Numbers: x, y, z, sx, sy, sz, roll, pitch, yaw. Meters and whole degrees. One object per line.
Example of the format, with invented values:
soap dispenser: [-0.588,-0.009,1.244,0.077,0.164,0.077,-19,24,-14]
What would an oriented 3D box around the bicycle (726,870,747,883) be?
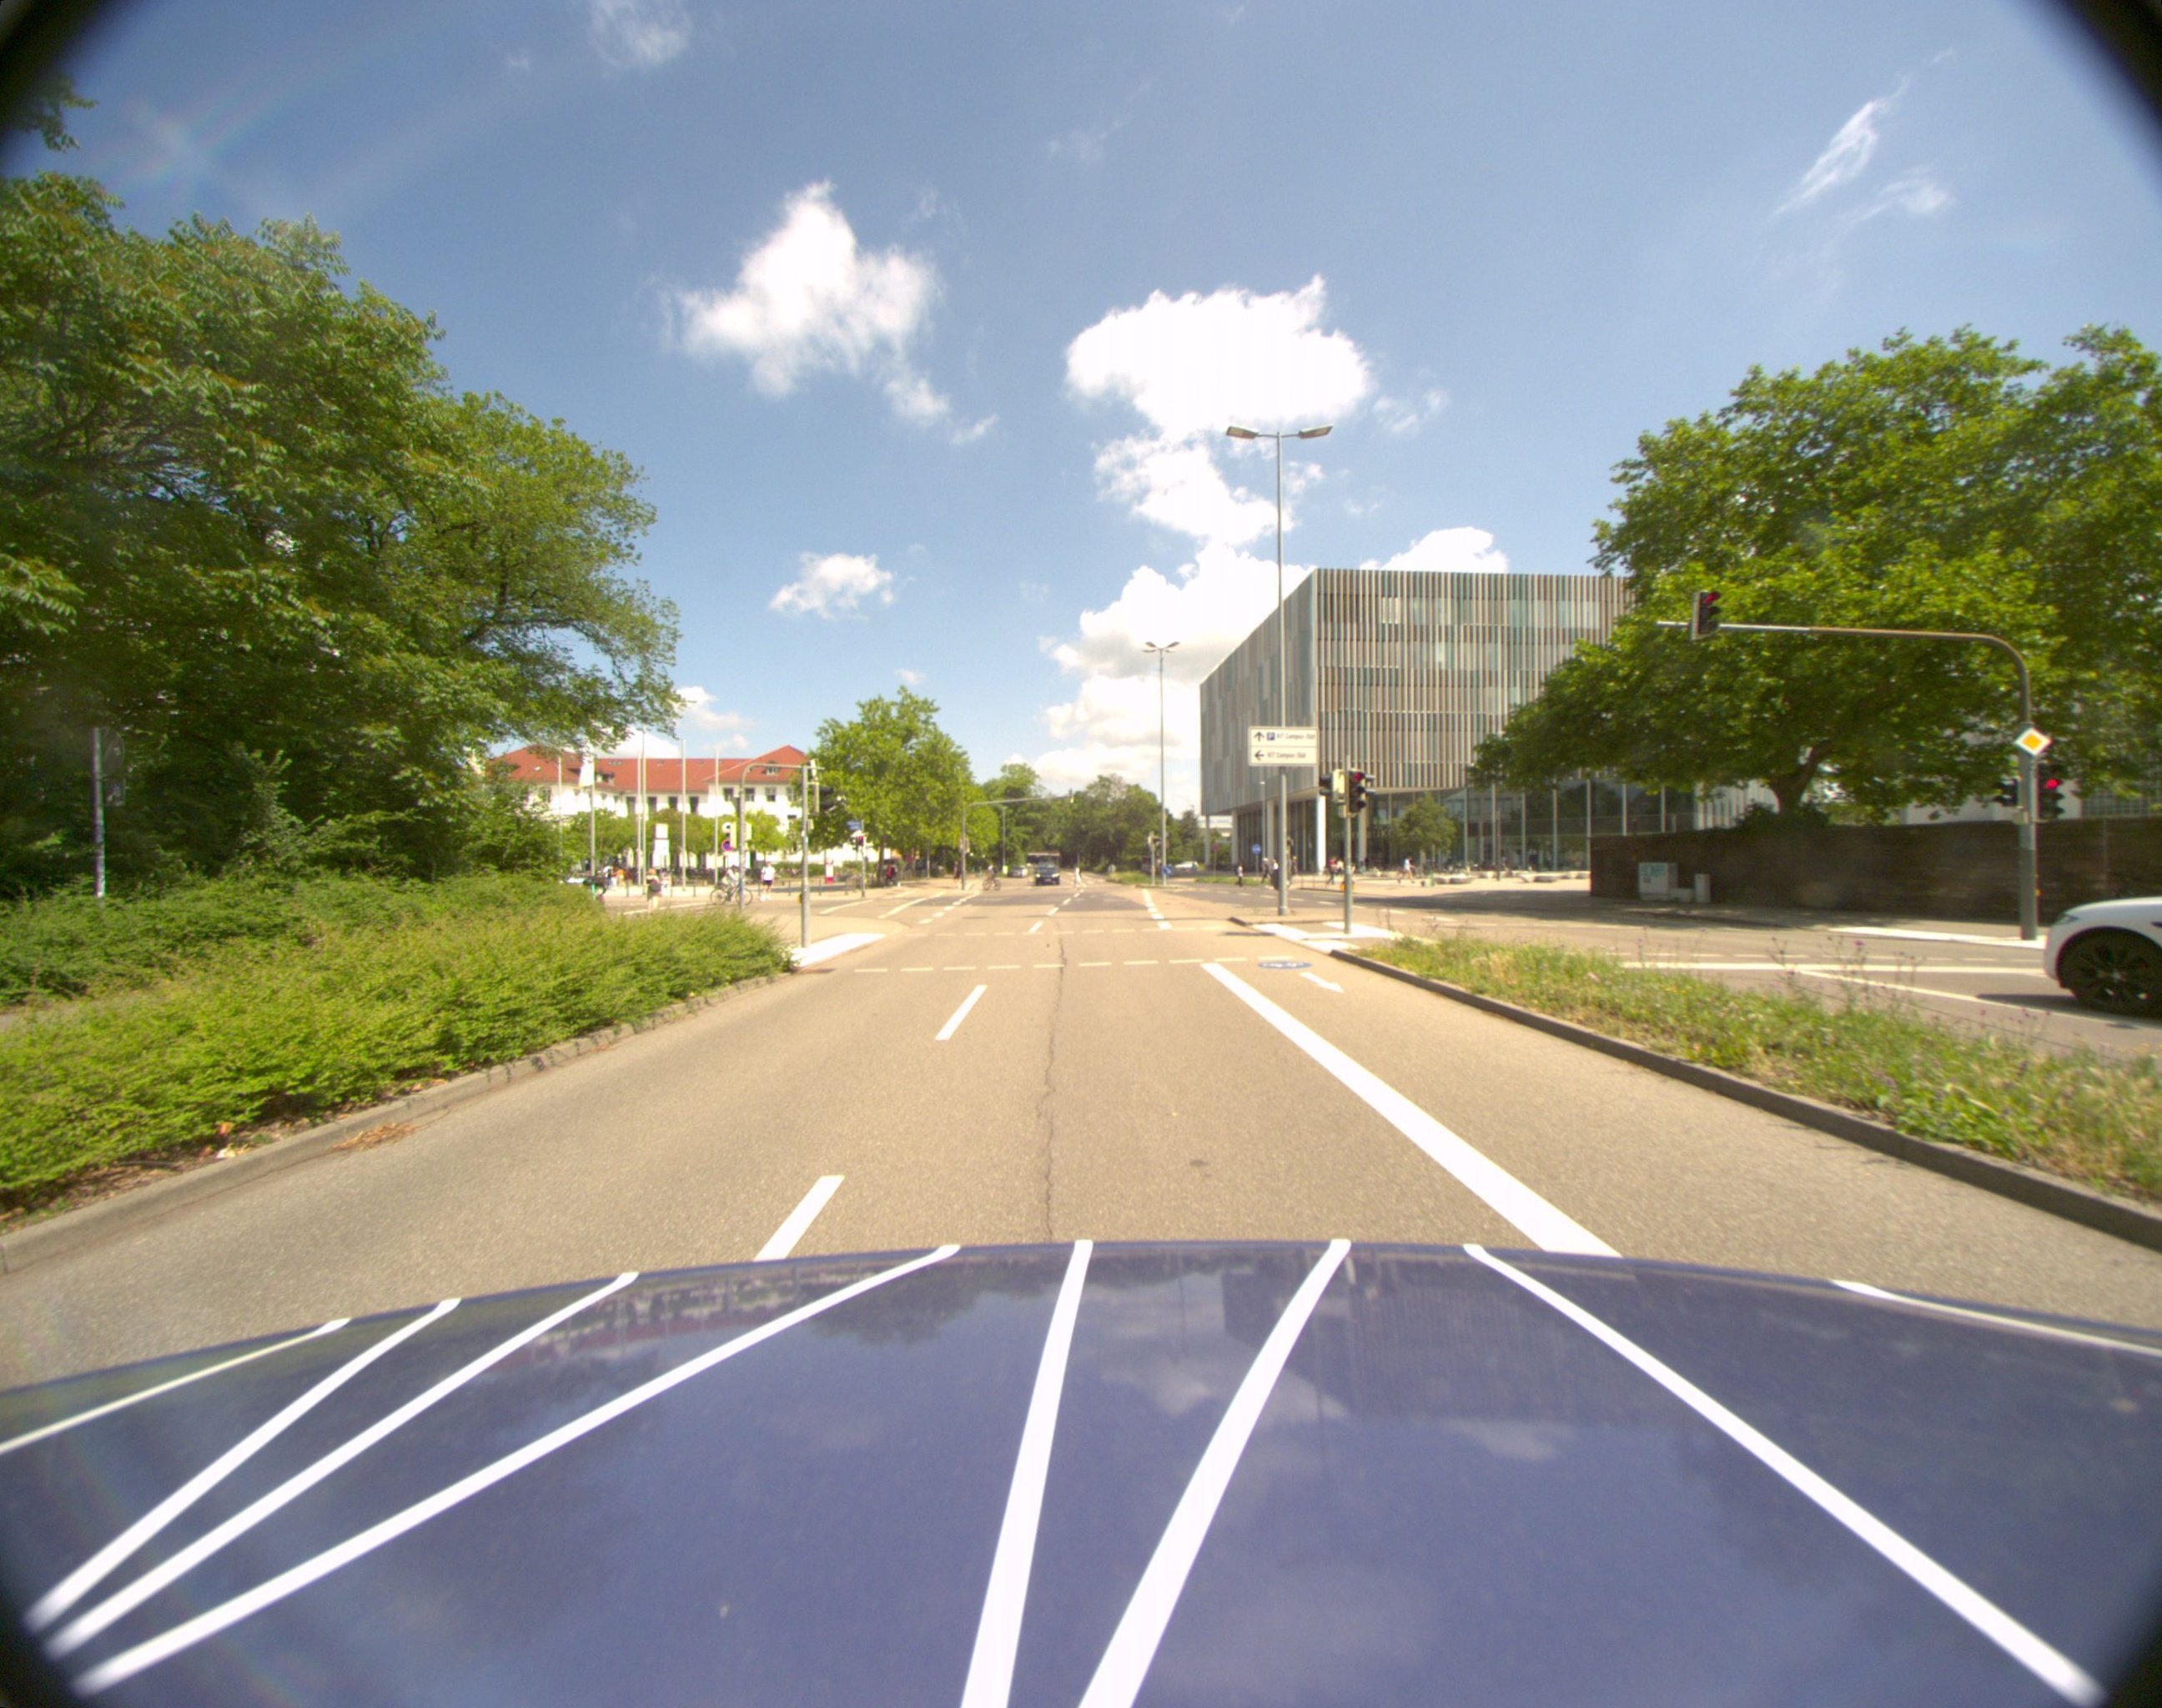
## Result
bicycle: [-25.949,1.681,57.197,1.371,0.945,0.352,0,0,-7]

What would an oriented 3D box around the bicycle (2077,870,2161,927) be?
bicycle: [21.300,0.870,15.196,0.573,1.092,1.593,-1,0,-9]

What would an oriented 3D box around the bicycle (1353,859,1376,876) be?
bicycle: [24.789,1.178,66.448,0.930,1.485,2.693,0,0,44]

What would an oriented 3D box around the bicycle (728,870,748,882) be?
bicycle: [-26.071,1.673,57.761,1.371,0.941,0.352,0,0,-7]

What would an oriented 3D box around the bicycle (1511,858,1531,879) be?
bicycle: [32.865,1.051,56.715,0.997,1.543,3.422,0,0,35]

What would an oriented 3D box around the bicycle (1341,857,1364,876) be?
bicycle: [24.002,1.096,67.159,0.808,1.634,3.422,0,0,40]

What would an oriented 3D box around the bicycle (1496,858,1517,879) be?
bicycle: [32.702,1.073,58.370,0.997,1.543,3.422,0,0,35]

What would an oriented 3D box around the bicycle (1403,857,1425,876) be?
bicycle: [27.851,1.042,63.576,0.997,1.543,3.422,0,0,35]

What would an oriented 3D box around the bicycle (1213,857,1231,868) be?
bicycle: [19.786,1.178,106.526,2.330,1.486,0.621,-1,0,-1]

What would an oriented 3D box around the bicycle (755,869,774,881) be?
bicycle: [-25.241,1.643,60.660,1.371,0.945,0.352,0,0,-7]

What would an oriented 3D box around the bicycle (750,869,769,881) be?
bicycle: [-25.375,1.650,59.949,1.371,0.945,0.352,0,0,-7]

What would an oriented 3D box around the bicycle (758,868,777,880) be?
bicycle: [-25.796,1.665,62.496,1.371,0.945,0.352,-1,0,-7]

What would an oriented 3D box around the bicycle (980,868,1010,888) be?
bicycle: [-5.607,1.529,49.531,0.887,1.244,2.159,-1,0,-40]

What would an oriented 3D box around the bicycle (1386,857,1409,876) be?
bicycle: [26.926,1.041,64.589,1.049,1.543,3.422,0,0,35]

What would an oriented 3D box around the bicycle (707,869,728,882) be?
bicycle: [-27.856,1.661,58.194,1.371,0.995,0.352,0,0,-7]

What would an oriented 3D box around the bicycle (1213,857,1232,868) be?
bicycle: [19.598,1.189,105.451,2.511,1.486,0.621,-1,0,-1]

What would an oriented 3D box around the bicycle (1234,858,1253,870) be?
bicycle: [20.426,1.264,95.459,2.200,1.486,0.621,-1,0,-1]

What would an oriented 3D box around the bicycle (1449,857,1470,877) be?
bicycle: [30.208,1.049,60.650,0.997,1.543,3.422,0,0,35]

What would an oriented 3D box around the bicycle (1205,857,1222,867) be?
bicycle: [19.334,1.145,111.127,2.303,1.486,0.657,-1,0,-1]

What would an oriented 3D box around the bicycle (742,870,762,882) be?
bicycle: [-25.660,1.724,59.328,1.371,0.945,0.352,0,0,-7]

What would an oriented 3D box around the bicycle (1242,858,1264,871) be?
bicycle: [21.079,1.277,93.279,2.511,1.486,0.621,-1,0,-1]

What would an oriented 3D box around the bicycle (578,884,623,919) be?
bicycle: [-15.991,1.580,25.290,1.659,1.136,0.673,-2,-3,35]

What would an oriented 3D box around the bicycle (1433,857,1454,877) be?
bicycle: [29.502,1.046,61.816,0.997,1.543,3.422,0,0,35]

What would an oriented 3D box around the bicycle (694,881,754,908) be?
bicycle: [-14.647,1.656,31.219,2.165,0.992,0.646,-1,0,-18]

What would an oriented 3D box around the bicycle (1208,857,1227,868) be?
bicycle: [19.463,1.168,108.211,2.511,1.486,0.621,-1,0,-1]

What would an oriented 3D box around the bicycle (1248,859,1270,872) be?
bicycle: [20.763,1.318,88.683,2.452,1.486,0.621,-1,0,-1]

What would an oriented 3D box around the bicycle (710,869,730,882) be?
bicycle: [-27.899,1.650,58.700,1.371,0.995,0.352,0,0,-7]

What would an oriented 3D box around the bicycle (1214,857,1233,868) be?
bicycle: [19.536,1.199,104.337,2.511,1.486,0.621,-1,0,-1]

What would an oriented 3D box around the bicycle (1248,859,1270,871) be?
bicycle: [21.021,1.306,89.696,2.509,1.486,0.730,-1,0,9]

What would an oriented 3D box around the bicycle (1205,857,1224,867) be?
bicycle: [19.184,1.163,109.136,2.511,1.486,0.621,-1,0,-1]

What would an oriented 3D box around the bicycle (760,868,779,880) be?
bicycle: [-25.880,1.643,63.143,1.371,0.945,0.352,0,0,-7]

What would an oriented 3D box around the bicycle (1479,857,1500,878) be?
bicycle: [31.784,1.049,59.047,0.997,1.543,3.422,0,0,35]

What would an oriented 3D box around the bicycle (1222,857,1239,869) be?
bicycle: [20.023,1.216,101.786,2.071,1.486,0.621,-1,0,-1]

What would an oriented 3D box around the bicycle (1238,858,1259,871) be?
bicycle: [20.361,1.290,92.361,2.511,1.486,0.621,-1,0,-1]

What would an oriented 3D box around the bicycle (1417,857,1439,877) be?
bicycle: [28.652,1.042,62.717,0.997,1.543,3.422,0,0,35]
